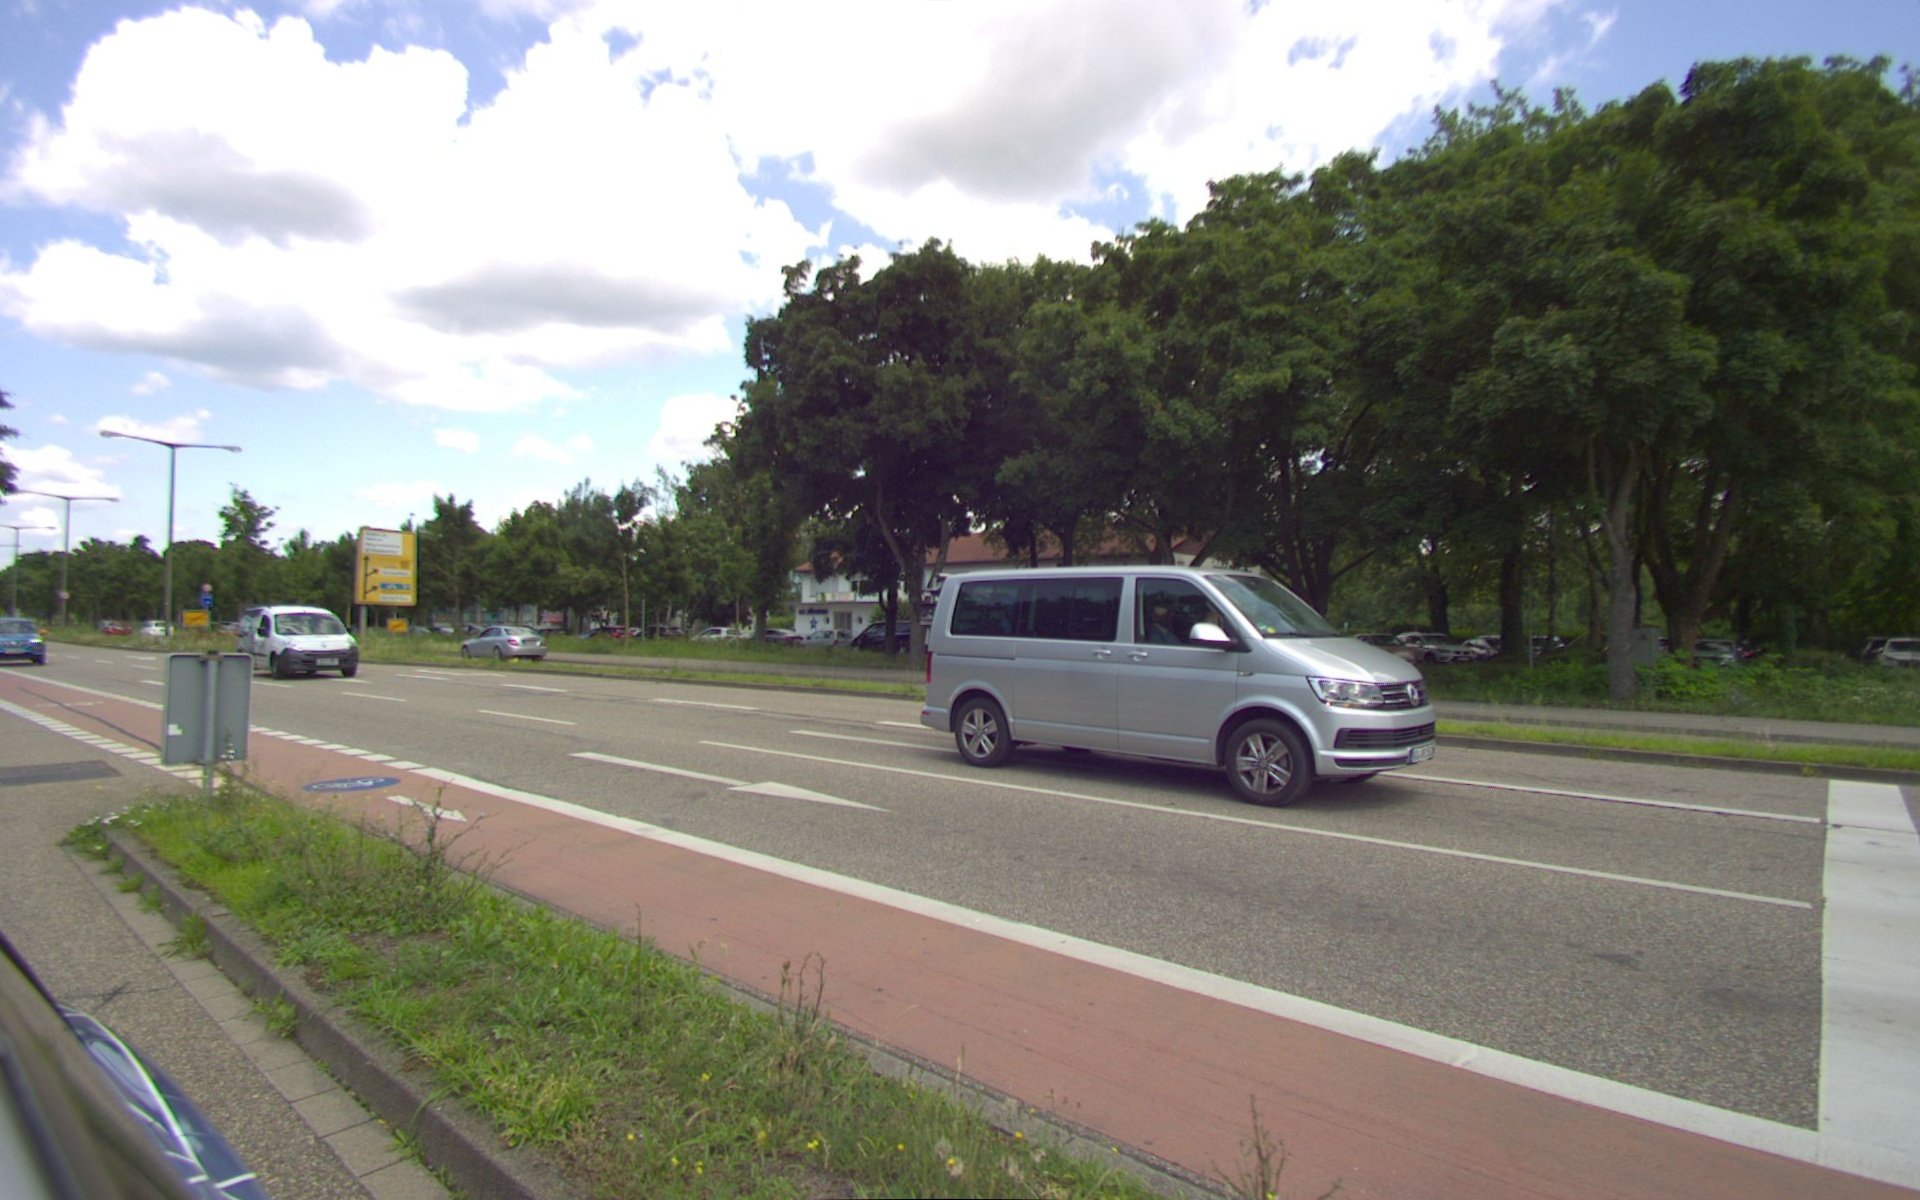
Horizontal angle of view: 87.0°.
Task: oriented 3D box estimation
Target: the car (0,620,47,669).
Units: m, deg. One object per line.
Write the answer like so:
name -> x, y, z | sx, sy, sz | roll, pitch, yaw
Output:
car -> -30.132, 1.380, 31.970 | 3.703, 1.475, 1.582 | -1, -4, 43

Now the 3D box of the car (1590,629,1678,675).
car -> 27.078, 2.078, 40.602 | 4.062, 1.741, 1.822 | 2, -3, -39

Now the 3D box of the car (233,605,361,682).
car -> -16.851, 1.064, 25.657 | 4.155, 1.799, 1.724 | -1, -2, 42

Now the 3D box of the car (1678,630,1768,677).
car -> 29.338, 2.049, 38.889 | 4.062, 1.723, 1.822 | 2, -3, -39

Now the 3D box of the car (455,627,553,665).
car -> -18.057, 1.797, 40.030 | 4.493, 1.443, 1.781 | -1, -3, 41

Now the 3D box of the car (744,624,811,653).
car -> -10.422, 2.188, 57.710 | 4.023, 1.600, 1.738 | -1, -3, 43

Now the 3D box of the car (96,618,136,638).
car -> -71.539, 2.396, 85.761 | 3.997, 1.630, 1.973 | -1, -3, 40

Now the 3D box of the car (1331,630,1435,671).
car -> 17.288, 2.098, 41.587 | 1.967, 1.600, 4.032 | 1, -4, -11

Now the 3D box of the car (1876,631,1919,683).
car -> 33.708, 1.983, 35.089 | 4.059, 1.738, 2.081 | 3, -3, -36

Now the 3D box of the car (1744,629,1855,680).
car -> 30.765, 1.985, 37.049 | 4.502, 1.738, 2.051 | 3, -3, -36

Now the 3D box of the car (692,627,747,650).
car -> -14.540, 2.333, 61.165 | 3.477, 1.342, 1.603 | -1, -3, 43

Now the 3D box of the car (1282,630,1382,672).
car -> 14.977, 2.033, 40.967 | 1.967, 1.600, 4.032 | 1, -2, -11

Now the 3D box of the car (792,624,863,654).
car -> -7.198, 2.106, 54.811 | 3.666, 1.600, 1.895 | -1, -3, 43

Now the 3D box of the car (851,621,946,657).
car -> -3.135, 1.962, 50.729 | 4.930, 1.724, 1.862 | -1, -3, 43

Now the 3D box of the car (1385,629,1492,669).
car -> 19.730, 2.007, 41.944 | 1.967, 1.557, 4.032 | 1, -2, -11

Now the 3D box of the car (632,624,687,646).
car -> -19.513, 2.269, 65.662 | 3.866, 1.422, 1.706 | -1, -3, 43

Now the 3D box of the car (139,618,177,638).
car -> -60.213, 2.095, 75.975 | 3.591, 1.456, 1.595 | -1, -1, 40

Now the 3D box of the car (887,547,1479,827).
car -> 1.763, 0.674, 9.467 | 5.232, 1.933, 1.793 | -1, -3, 43

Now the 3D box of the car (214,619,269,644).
car -> -44.936, 1.958, 63.294 | 3.997, 1.523, 1.868 | -1, -2, 40

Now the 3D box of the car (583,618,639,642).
car -> -24.164, 2.081, 70.027 | 4.023, 1.600, 1.971 | -1, -3, 43

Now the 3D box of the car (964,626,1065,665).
car -> 2.473, 2.049, 46.526 | 4.350, 1.670, 1.793 | -1, -1, 32
